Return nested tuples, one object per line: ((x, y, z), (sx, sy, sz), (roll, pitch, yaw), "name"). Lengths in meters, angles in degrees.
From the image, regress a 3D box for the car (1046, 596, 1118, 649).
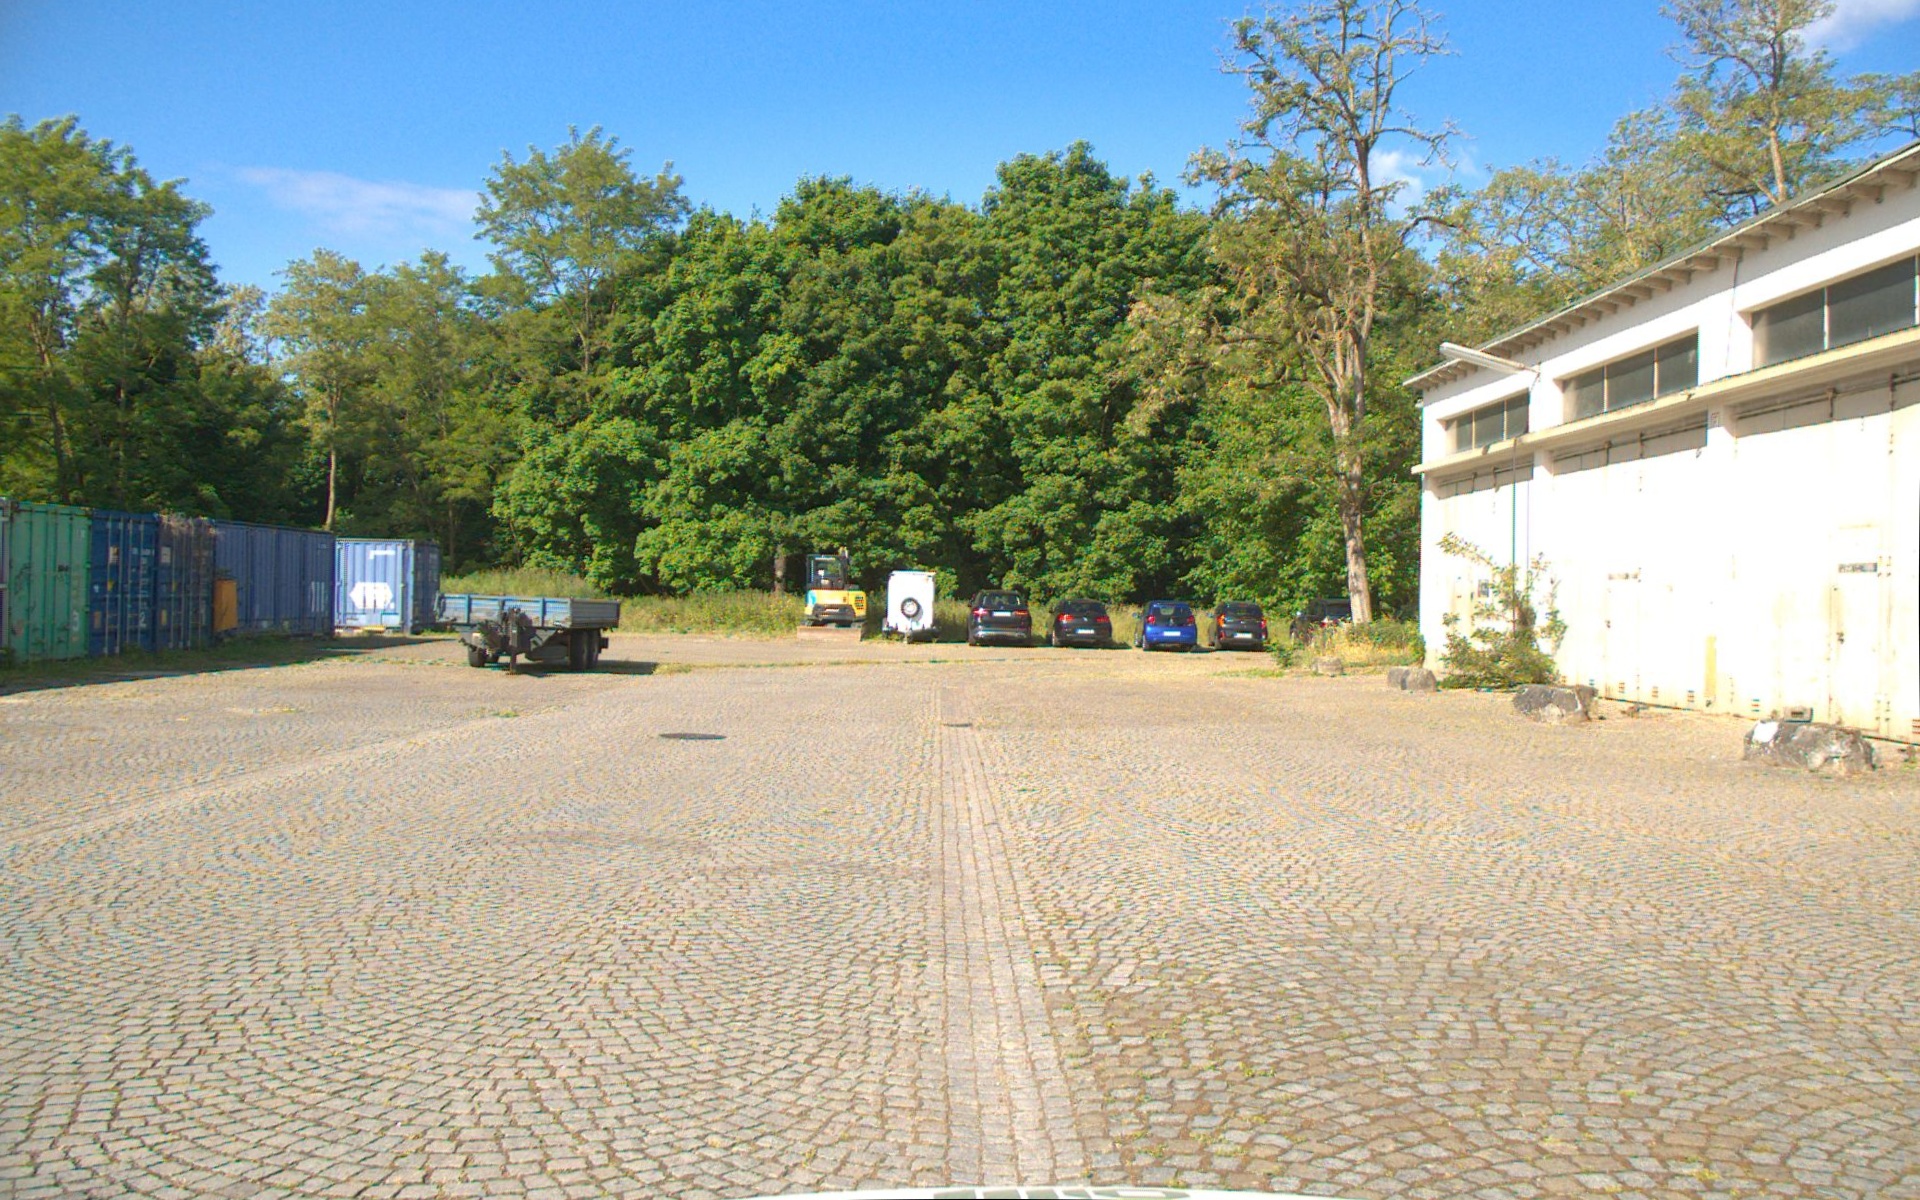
((3.648, 0.647, 50.047), (1.851, 1.436, 3.790), (1, 1, -1), "car")

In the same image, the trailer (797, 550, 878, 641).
((-3.753, -0.182, 51.093), (2.212, 2.582, 2.852), (1, 3, 1), "trailer")

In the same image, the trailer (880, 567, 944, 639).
((-1.448, 0.055, 50.763), (1.781, 2.086, 2.851), (1, 1, 1), "trailer")

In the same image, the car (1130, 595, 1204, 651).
((6.194, 0.665, 49.901), (1.743, 1.484, 3.790), (1, 1, 0), "car")

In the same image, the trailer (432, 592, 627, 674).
((-8.323, 0.616, 32.546), (2.587, 1.439, 4.861), (1, 0, -1), "trailer")

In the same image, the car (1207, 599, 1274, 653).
((8.664, 0.777, 51.251), (1.702, 1.476, 3.727), (2, 1, 5), "car")

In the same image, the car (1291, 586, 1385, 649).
((11.576, 0.505, 50.892), (1.836, 1.659, 4.274), (1, 3, -1), "car")

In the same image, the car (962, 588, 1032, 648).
((1.081, 0.490, 49.649), (1.924, 1.617, 4.131), (1, 1, -1), "car")
